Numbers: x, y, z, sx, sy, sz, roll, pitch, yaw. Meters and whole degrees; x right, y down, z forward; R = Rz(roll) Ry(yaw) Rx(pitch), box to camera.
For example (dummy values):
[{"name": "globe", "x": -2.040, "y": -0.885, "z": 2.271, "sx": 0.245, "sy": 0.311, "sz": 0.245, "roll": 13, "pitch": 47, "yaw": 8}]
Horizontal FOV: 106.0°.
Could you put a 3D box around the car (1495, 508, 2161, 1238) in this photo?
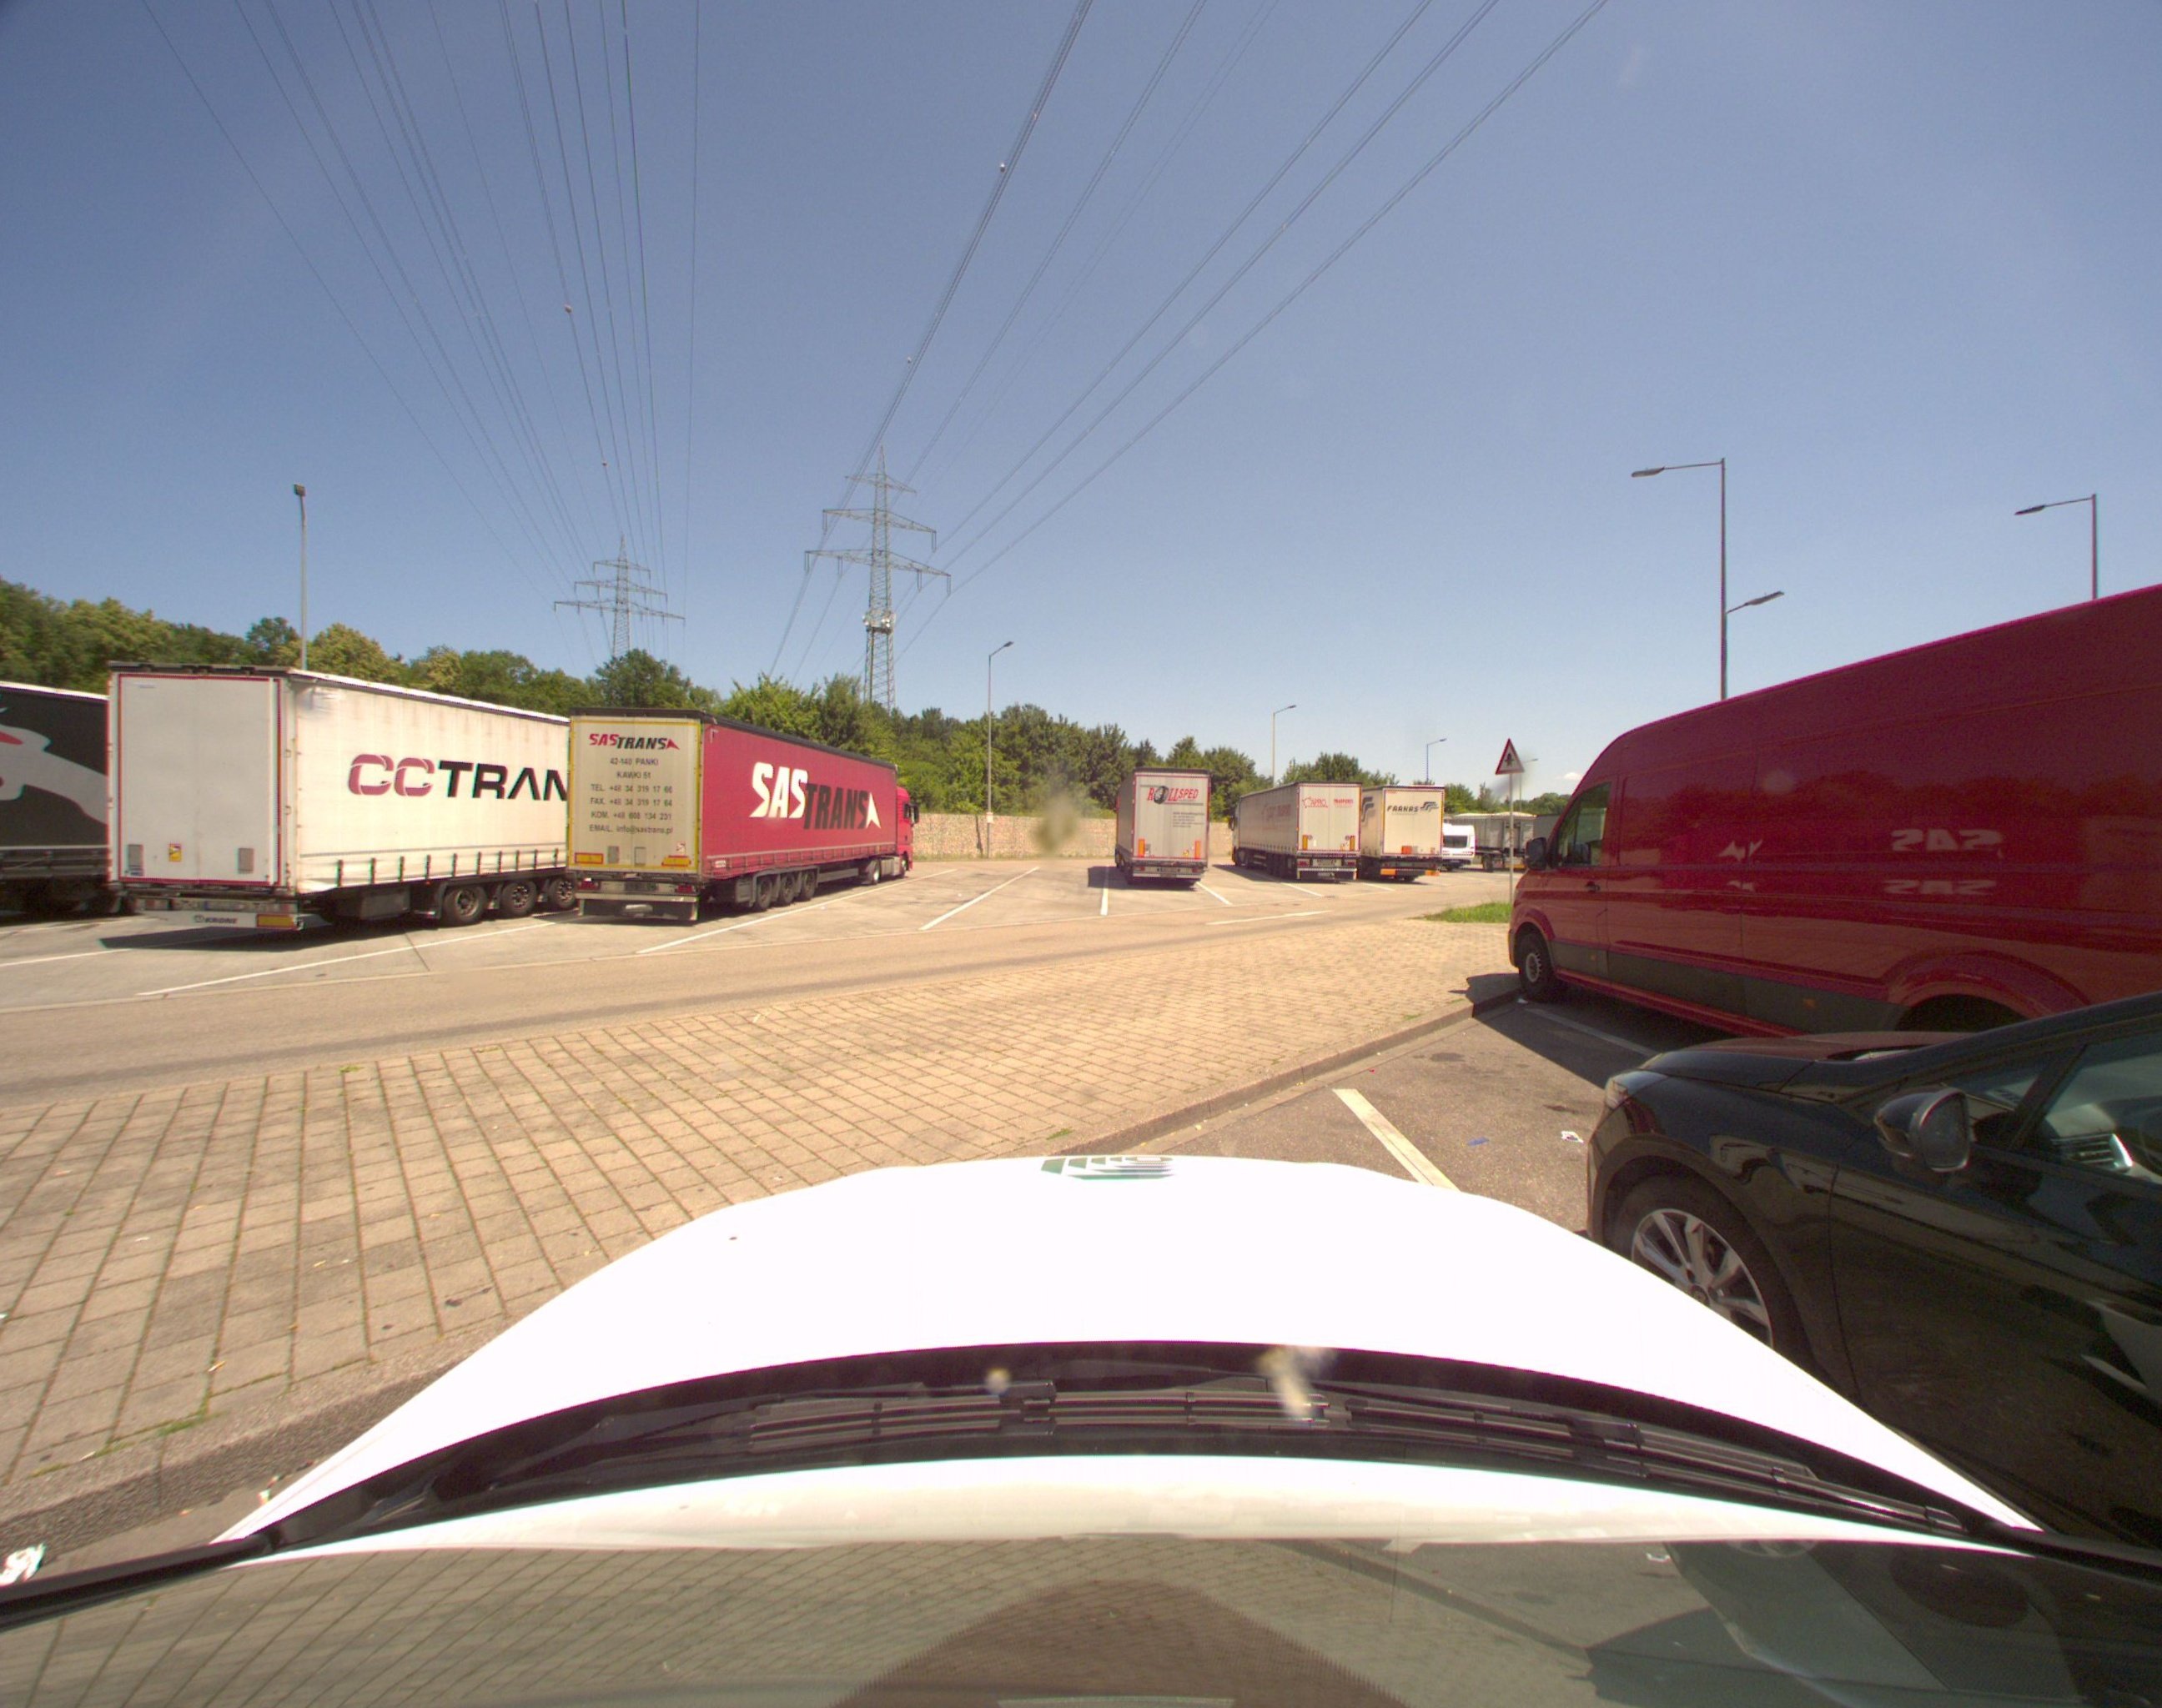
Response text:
[{"name": "car", "x": 5.145, "y": 0.025, "z": 5.506, "sx": 1.984, "sy": 2.633, "sz": 6.393, "roll": -1, "pitch": 1, "yaw": 5}]

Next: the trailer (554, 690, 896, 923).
[{"name": "trailer", "x": -7.998, "y": -0.956, "z": 21.470, "sx": 2.789, "sy": 4.219, "sz": 13.208, "roll": -1, "pitch": 1, "yaw": 2}]

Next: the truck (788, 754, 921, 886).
[{"name": "truck", "x": -7.748, "y": -1.110, "z": 28.727, "sx": 2.795, "sy": 4.133, "sz": 5.896, "roll": -1, "pitch": 1, "yaw": 2}]

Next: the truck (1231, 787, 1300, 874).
[{"name": "truck", "x": 10.075, "y": -1.239, "z": 45.037, "sx": 2.651, "sy": 4.452, "sz": 5.866, "roll": -1, "pitch": 1, "yaw": 2}]

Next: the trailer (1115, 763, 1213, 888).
[{"name": "trailer", "x": 2.938, "y": -1.009, "z": 32.053, "sx": 2.887, "sy": 4.013, "sz": 11.320, "roll": -1, "pitch": 1, "yaw": 1}]

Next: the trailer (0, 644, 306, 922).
[{"name": "trailer", "x": -18.562, "y": -1.149, "z": 14.895, "sx": 2.668, "sy": 4.444, "sz": 6.151, "roll": -1, "pitch": 1, "yaw": 2}]

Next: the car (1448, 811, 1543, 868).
[{"name": "car", "x": 24.138, "y": -0.829, "z": 47.766, "sx": 2.490, "sy": 3.074, "sz": 6.353, "roll": -1, "pitch": 1, "yaw": 2}]

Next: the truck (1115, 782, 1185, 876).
[{"name": "truck", "x": 3.072, "y": -1.098, "z": 37.797, "sx": 2.861, "sy": 3.980, "sz": 6.032, "roll": 0, "pitch": 1, "yaw": 2}]

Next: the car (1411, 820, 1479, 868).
[{"name": "car", "x": 20.540, "y": -0.526, "z": 46.144, "sx": 2.107, "sy": 2.599, "sz": 4.001, "roll": 0, "pitch": -1, "yaw": 2}]

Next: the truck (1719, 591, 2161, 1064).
[{"name": "truck", "x": 7.795, "y": -0.157, "z": 6.042, "sx": 2.508, "sy": 2.827, "sz": 4.821, "roll": 0, "pitch": -1, "yaw": 3}]

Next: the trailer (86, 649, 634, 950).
[{"name": "trailer", "x": -12.234, "y": -0.818, "z": 15.396, "sx": 2.744, "sy": 4.152, "sz": 8.291, "roll": 0, "pitch": 1, "yaw": 2}]

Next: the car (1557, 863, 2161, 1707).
[{"name": "car", "x": 2.556, "y": 0.749, "z": 0.901, "sx": 1.772, "sy": 1.457, "sz": 3.681, "roll": 0, "pitch": -1, "yaw": -3}]

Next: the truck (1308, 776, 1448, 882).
[{"name": "truck", "x": 13.534, "y": -0.948, "z": 38.536, "sx": 2.577, "sy": 4.226, "sz": 11.974, "roll": 0, "pitch": -1, "yaw": 2}]

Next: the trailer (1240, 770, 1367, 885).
[{"name": "trailer", "x": 9.904, "y": -1.121, "z": 38.099, "sx": 2.672, "sy": 4.452, "sz": 12.833, "roll": -1, "pitch": 1, "yaw": 1}]
